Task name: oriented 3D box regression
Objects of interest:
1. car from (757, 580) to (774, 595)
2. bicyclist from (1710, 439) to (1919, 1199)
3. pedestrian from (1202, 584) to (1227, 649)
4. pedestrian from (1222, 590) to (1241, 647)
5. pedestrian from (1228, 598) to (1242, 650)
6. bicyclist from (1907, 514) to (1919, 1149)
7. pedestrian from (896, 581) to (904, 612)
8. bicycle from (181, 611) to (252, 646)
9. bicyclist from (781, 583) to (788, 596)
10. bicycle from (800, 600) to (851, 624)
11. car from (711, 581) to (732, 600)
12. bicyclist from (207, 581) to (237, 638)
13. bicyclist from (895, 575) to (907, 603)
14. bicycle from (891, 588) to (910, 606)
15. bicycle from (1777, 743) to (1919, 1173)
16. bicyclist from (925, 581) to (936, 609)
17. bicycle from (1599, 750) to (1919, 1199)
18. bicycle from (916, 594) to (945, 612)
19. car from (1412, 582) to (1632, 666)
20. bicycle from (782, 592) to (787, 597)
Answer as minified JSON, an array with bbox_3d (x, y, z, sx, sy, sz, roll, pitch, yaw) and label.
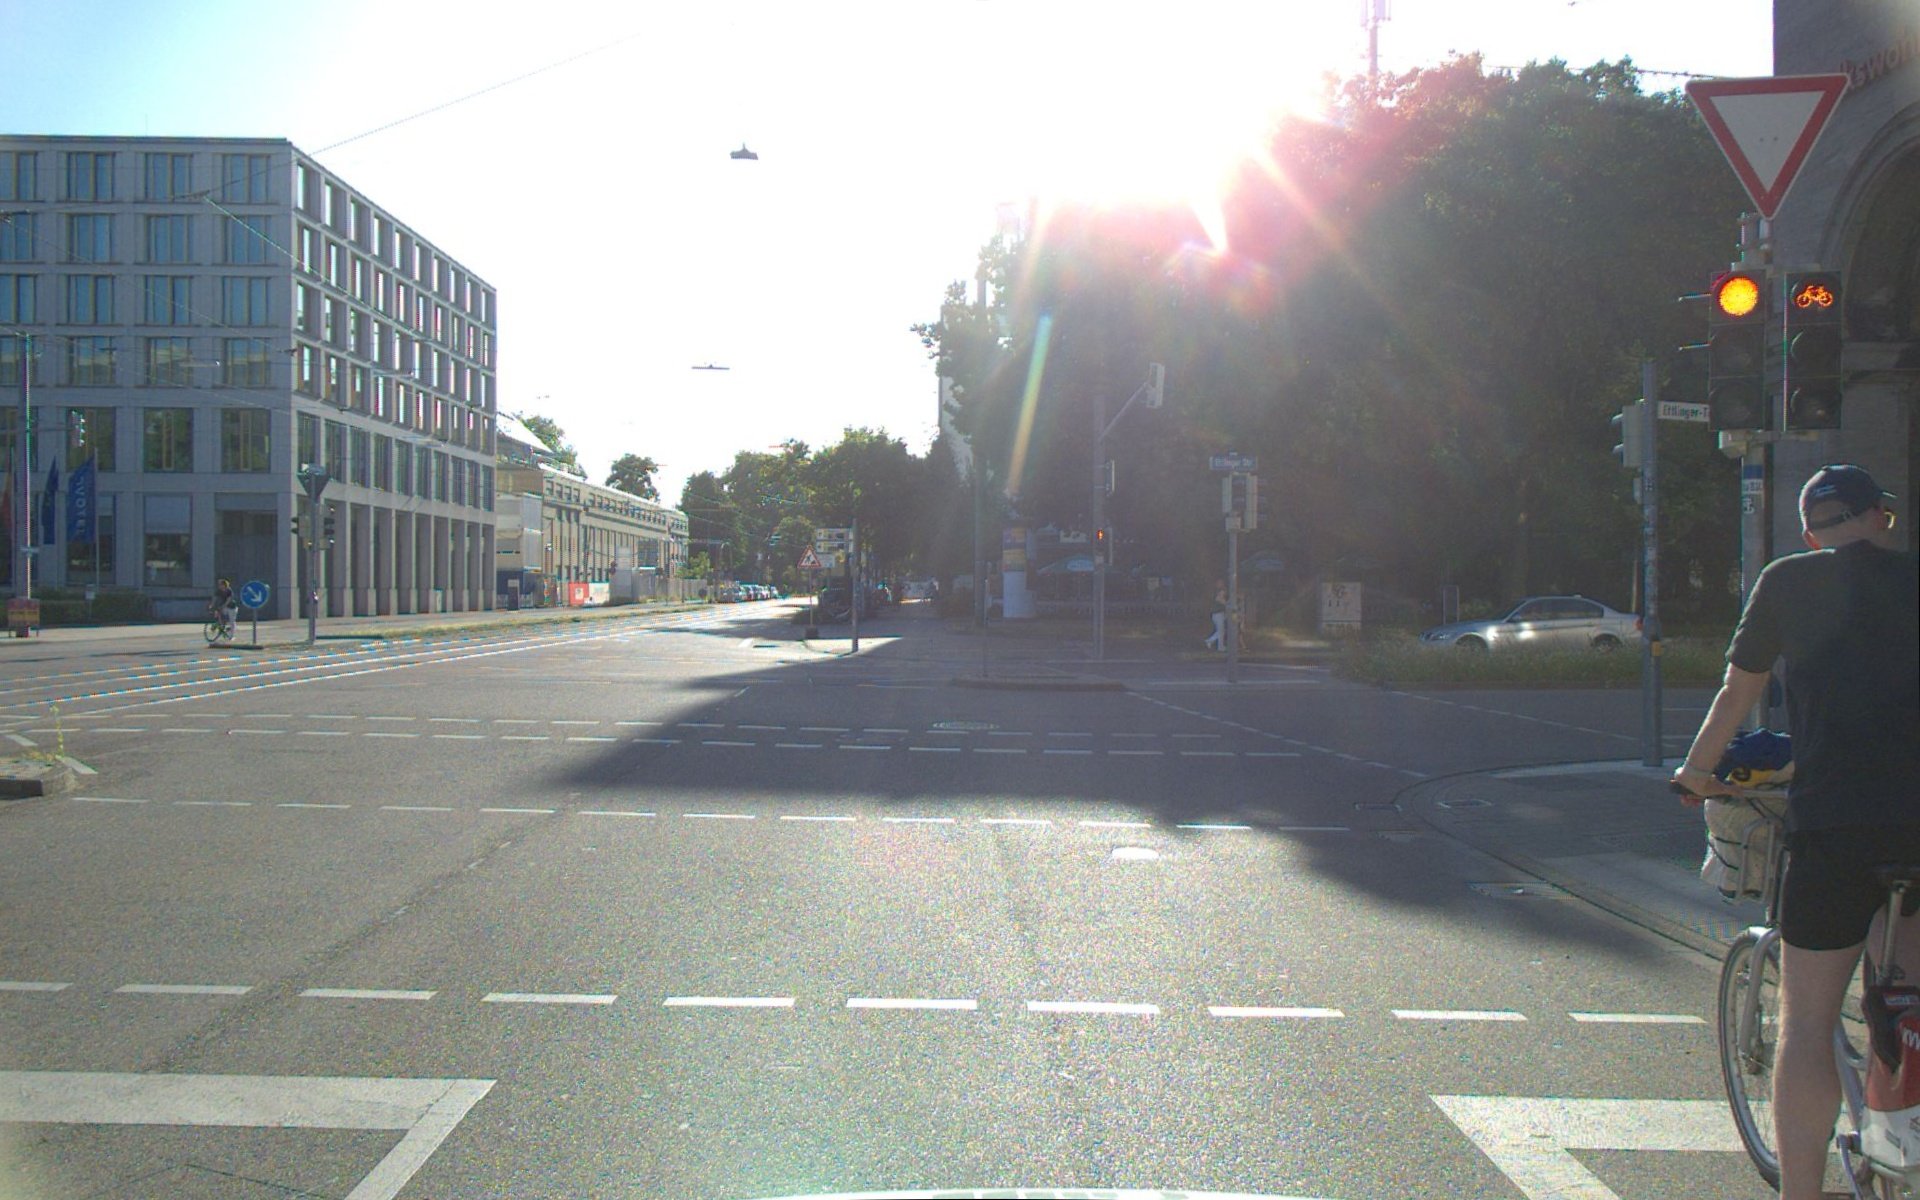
[{"bbox_3d":[-22.834,-1.435,194.358,1.659,1.748,4.244,1,0,-4],"label":"car"},{"bbox_3d":[2.097,0.582,3.730,0.547,1.830,0.550,1,0,1],"label":"bicyclist"},{"bbox_3d":[6.794,0.433,44.154,0.571,1.692,0.514,1,1,1],"label":"pedestrian"},{"bbox_3d":[7.304,0.494,44.562,0.430,1.529,0.437,0,0,0],"label":"pedestrian"},{"bbox_3d":[7.239,0.634,43.512,0.310,1.339,0.345,1,1,1],"label":"pedestrian"},{"bbox_3d":[2.890,0.631,4.228,0.546,1.721,0.640,1,0,-2],"label":"bicyclist"},{"bbox_3d":[-3.580,-0.226,98.346,0.454,1.845,0.502,0,0,-5],"label":"pedestrian"},{"bbox_3d":[-21.268,0.816,47.315,1.834,0.951,0.757,0,0,-25],"label":"bicycle"},{"bbox_3d":[-18.551,-1.115,174.888,0.584,1.401,0.637,1,-1,-2],"label":"bicyclist"},{"bbox_3d":[-5.485,0.509,67.381,1.976,0.907,0.650,-2,-1,27],"label":"bicycle"},{"bbox_3d":[-22.474,-0.897,156.109,1.659,1.748,4.244,1,0,-4],"label":"car"},{"bbox_3d":[-21.123,0.275,47.349,0.765,1.617,0.755,0,0,-26],"label":"bicyclist"},{"bbox_3d":[-3.694,-0.682,103.529,0.562,1.721,0.694,0,0,-24],"label":"bicyclist"},{"bbox_3d":[-3.717,-0.204,103.496,0.567,1.096,1.817,0,0,-23],"label":"bicycle"},{"bbox_3d":[2.866,1.004,4.336,0.523,1.096,1.750,1,0,-2],"label":"bicycle"},{"bbox_3d":[-1.840,-0.302,103.967,0.683,1.721,0.571,0,0,2],"label":"bicyclist"},{"bbox_3d":[2.078,0.985,3.888,0.505,1.096,1.728,1,0,1],"label":"bicycle"},{"bbox_3d":[-1.848,0.204,103.973,1.787,1.096,0.577,0,0,2],"label":"bicycle"},{"bbox_3d":[11.354,0.475,33.575,3.912,1.639,1.650,0,0,-1],"label":"car"},{"bbox_3d":[-18.577,-0.548,174.955,0.491,0.524,1.257,1,0,-2],"label":"bicycle"}]
